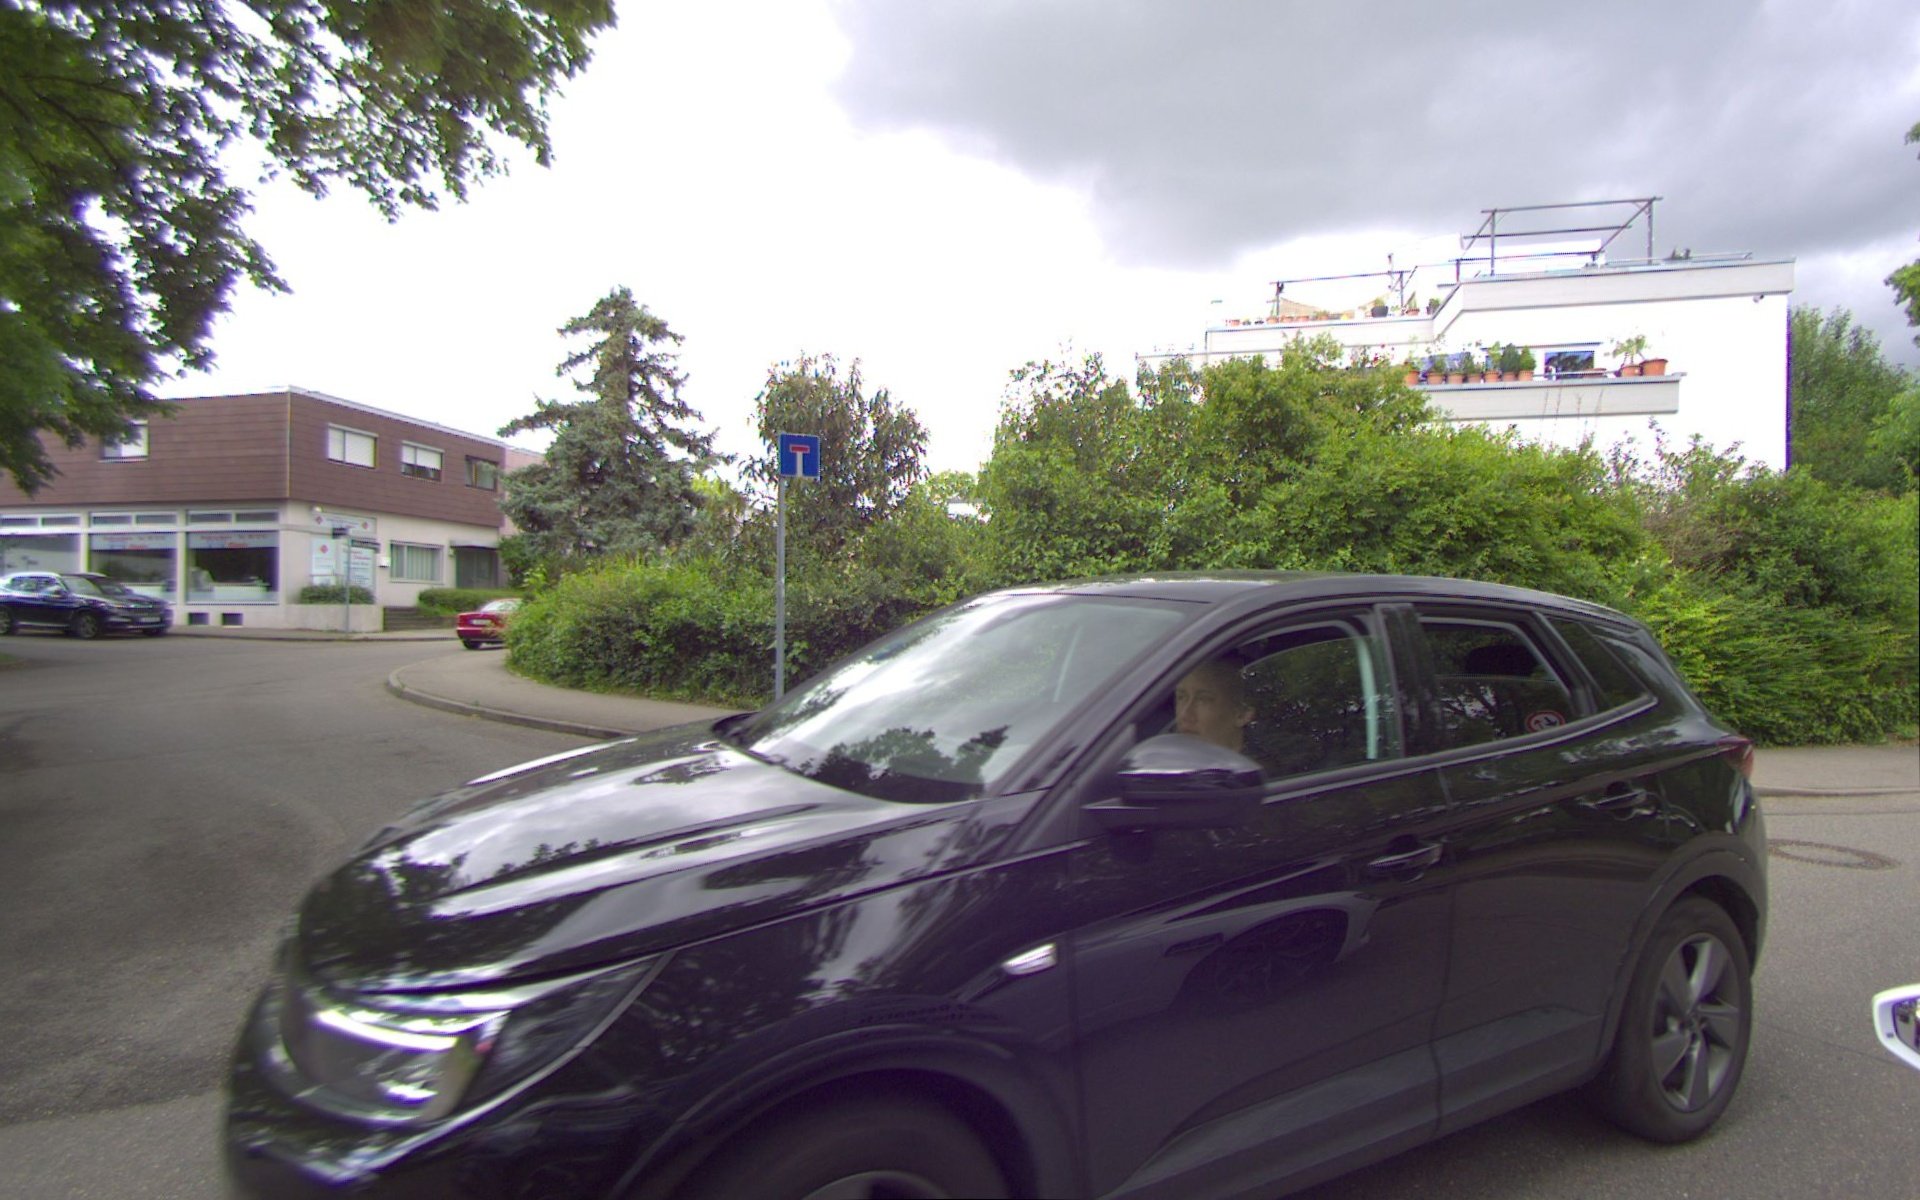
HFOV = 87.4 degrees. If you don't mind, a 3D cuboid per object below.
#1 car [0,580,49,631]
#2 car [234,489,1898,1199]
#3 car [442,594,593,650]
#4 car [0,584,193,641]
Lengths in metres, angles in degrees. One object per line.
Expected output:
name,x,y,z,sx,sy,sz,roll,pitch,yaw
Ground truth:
car,-27.835,0.121,27.771,3.919,1.394,1.976,1,1,11
car,0.634,0.710,2.958,4.241,1.613,1.796,1,0,-27
car,-11.545,0.549,26.537,1.720,1.353,4.068,1,0,9
car,-22.963,0.283,26.599,4.192,1.395,2.001,1,1,13
